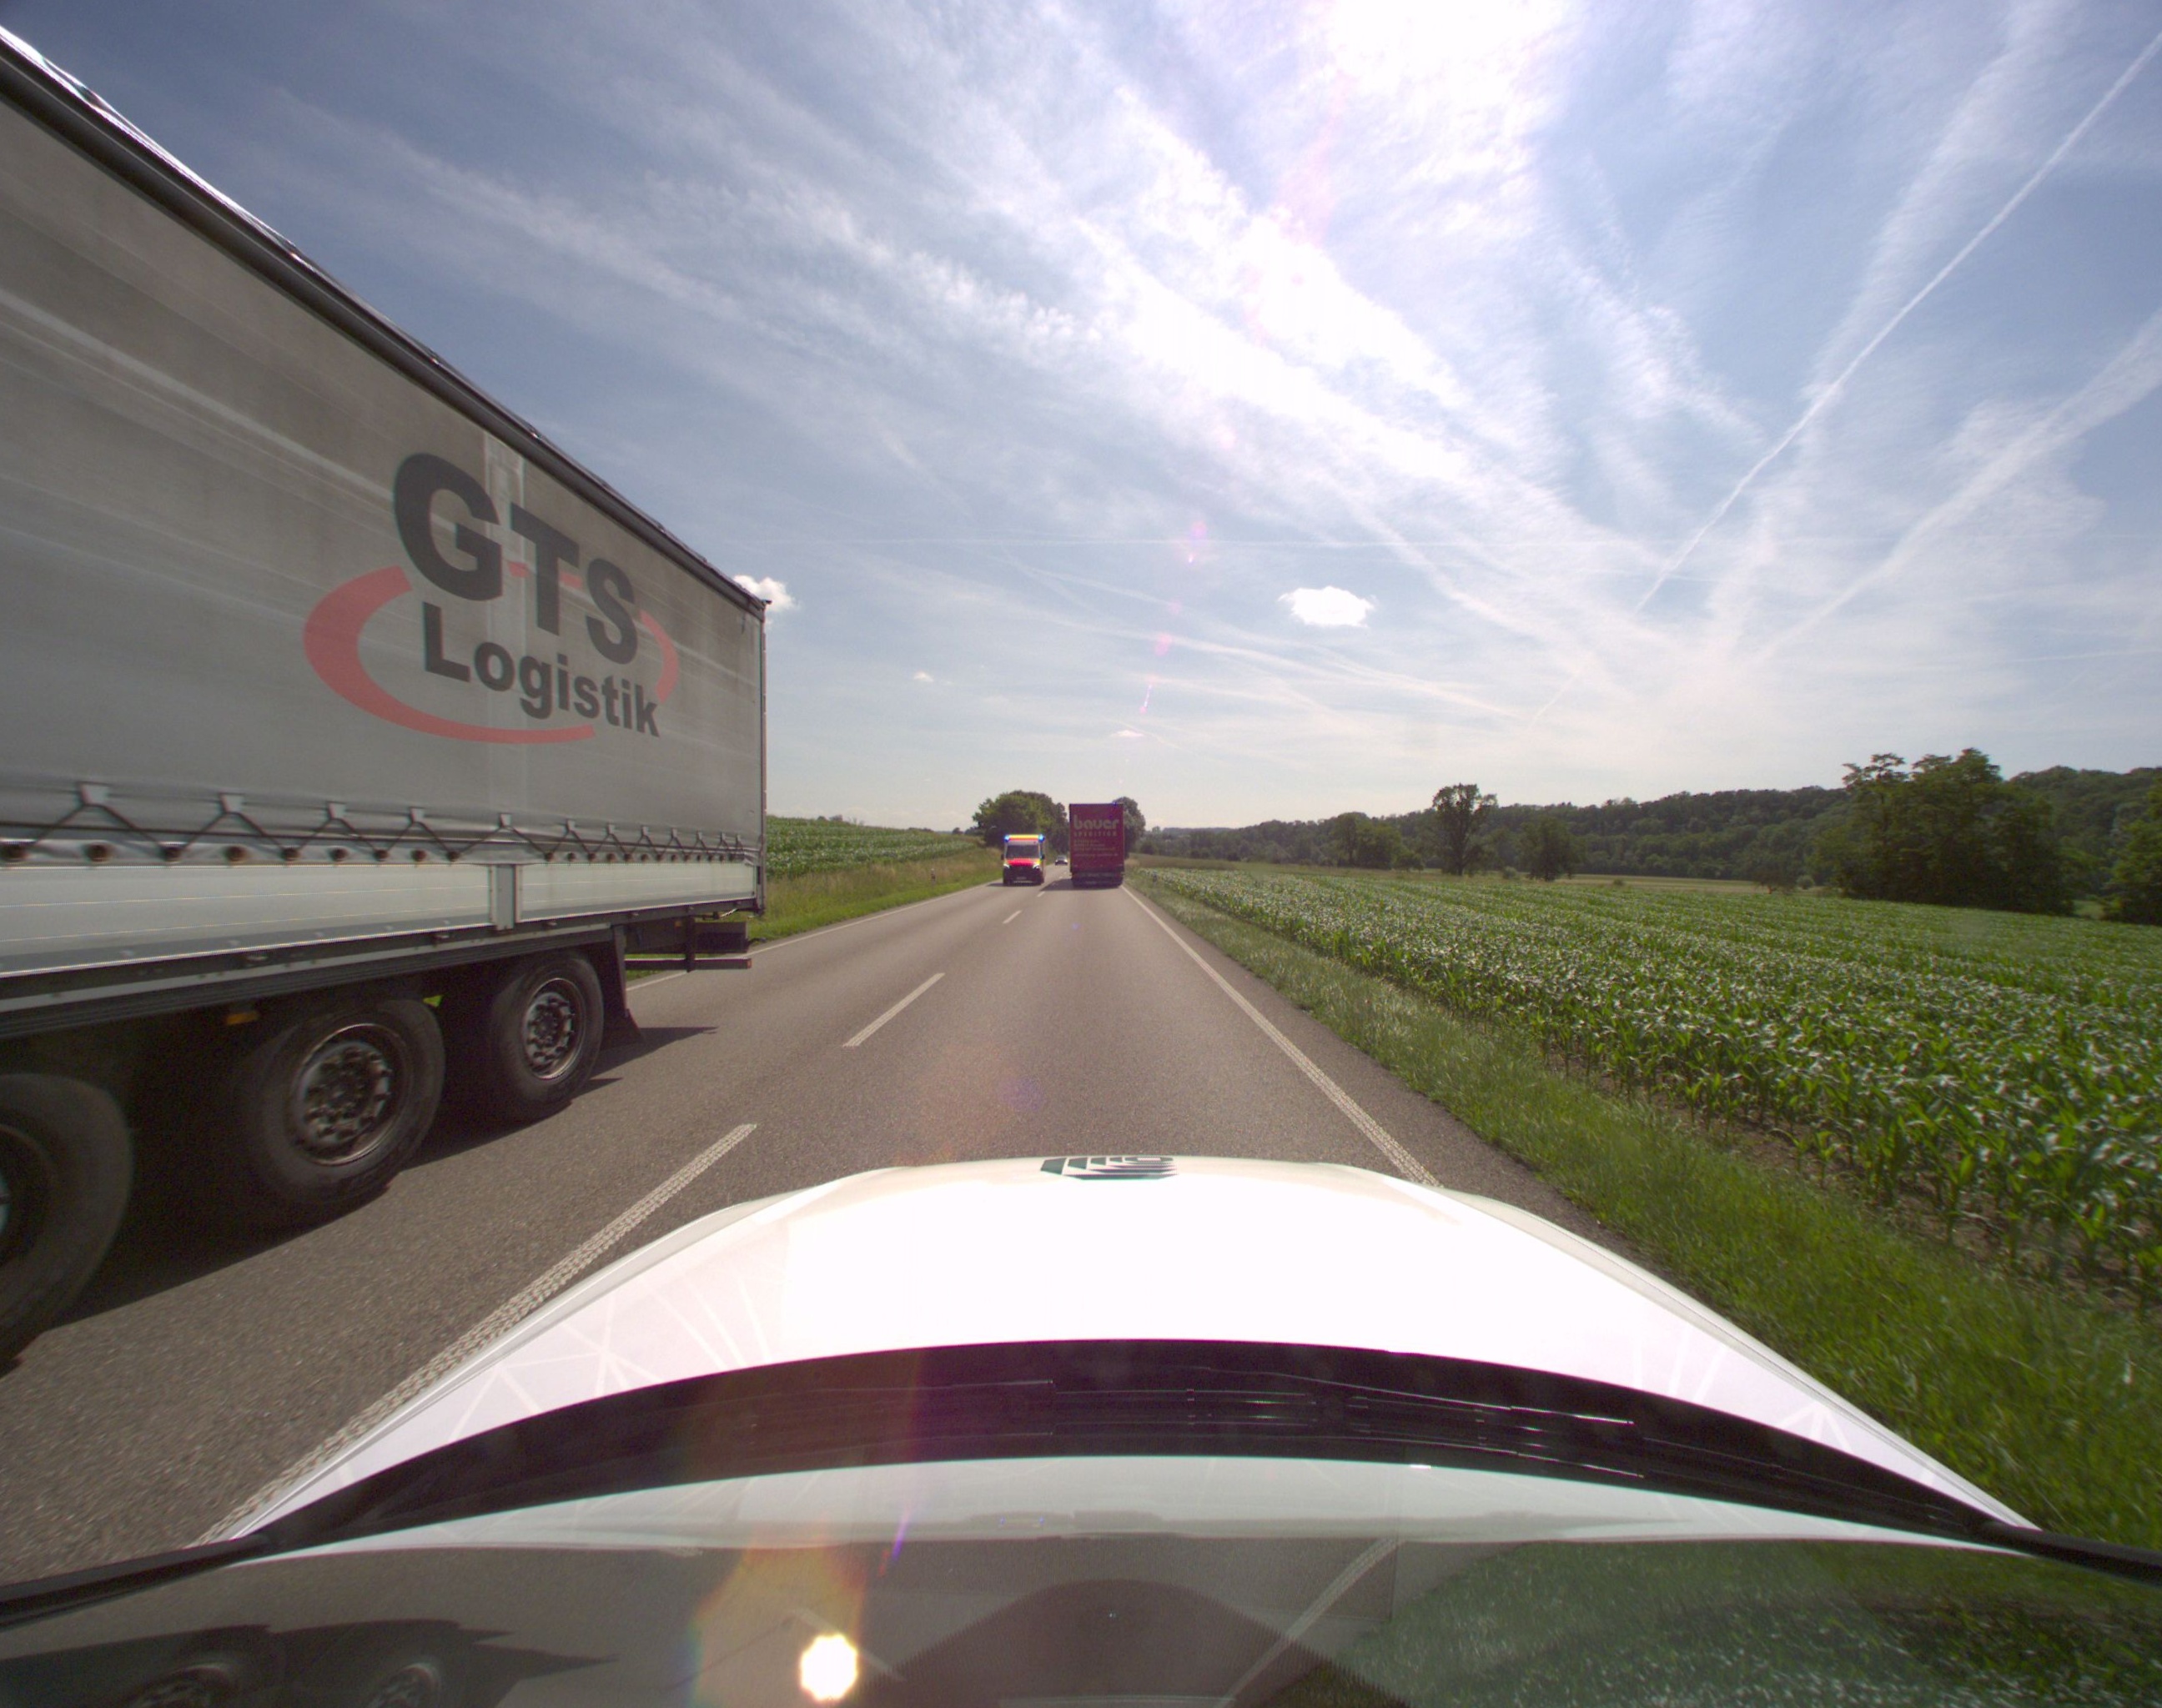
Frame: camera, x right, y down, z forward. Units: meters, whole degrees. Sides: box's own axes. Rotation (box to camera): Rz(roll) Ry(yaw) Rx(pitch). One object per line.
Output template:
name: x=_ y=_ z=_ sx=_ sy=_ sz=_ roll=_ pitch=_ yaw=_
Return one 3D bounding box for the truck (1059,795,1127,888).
truck: x=0.721 y=-0.506 z=41.764 sx=3.082 sy=4.263 sz=8.318 roll=-1 pitch=-1 yaw=2

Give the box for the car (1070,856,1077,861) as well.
car: x=-2.095 y=1.255 z=224.838 sx=1.651 sy=1.534 sz=4.358 roll=1 pitch=-1 yaw=0

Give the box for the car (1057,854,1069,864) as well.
car: x=-2.754 y=0.785 z=122.208 sx=1.667 sy=1.457 sz=4.350 roll=-1 pitch=0 yaw=0

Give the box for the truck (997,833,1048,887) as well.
truck: x=-3.085 y=0.307 z=44.284 sx=2.200 sy=2.672 sz=6.416 roll=-1 pitch=-1 yaw=0
